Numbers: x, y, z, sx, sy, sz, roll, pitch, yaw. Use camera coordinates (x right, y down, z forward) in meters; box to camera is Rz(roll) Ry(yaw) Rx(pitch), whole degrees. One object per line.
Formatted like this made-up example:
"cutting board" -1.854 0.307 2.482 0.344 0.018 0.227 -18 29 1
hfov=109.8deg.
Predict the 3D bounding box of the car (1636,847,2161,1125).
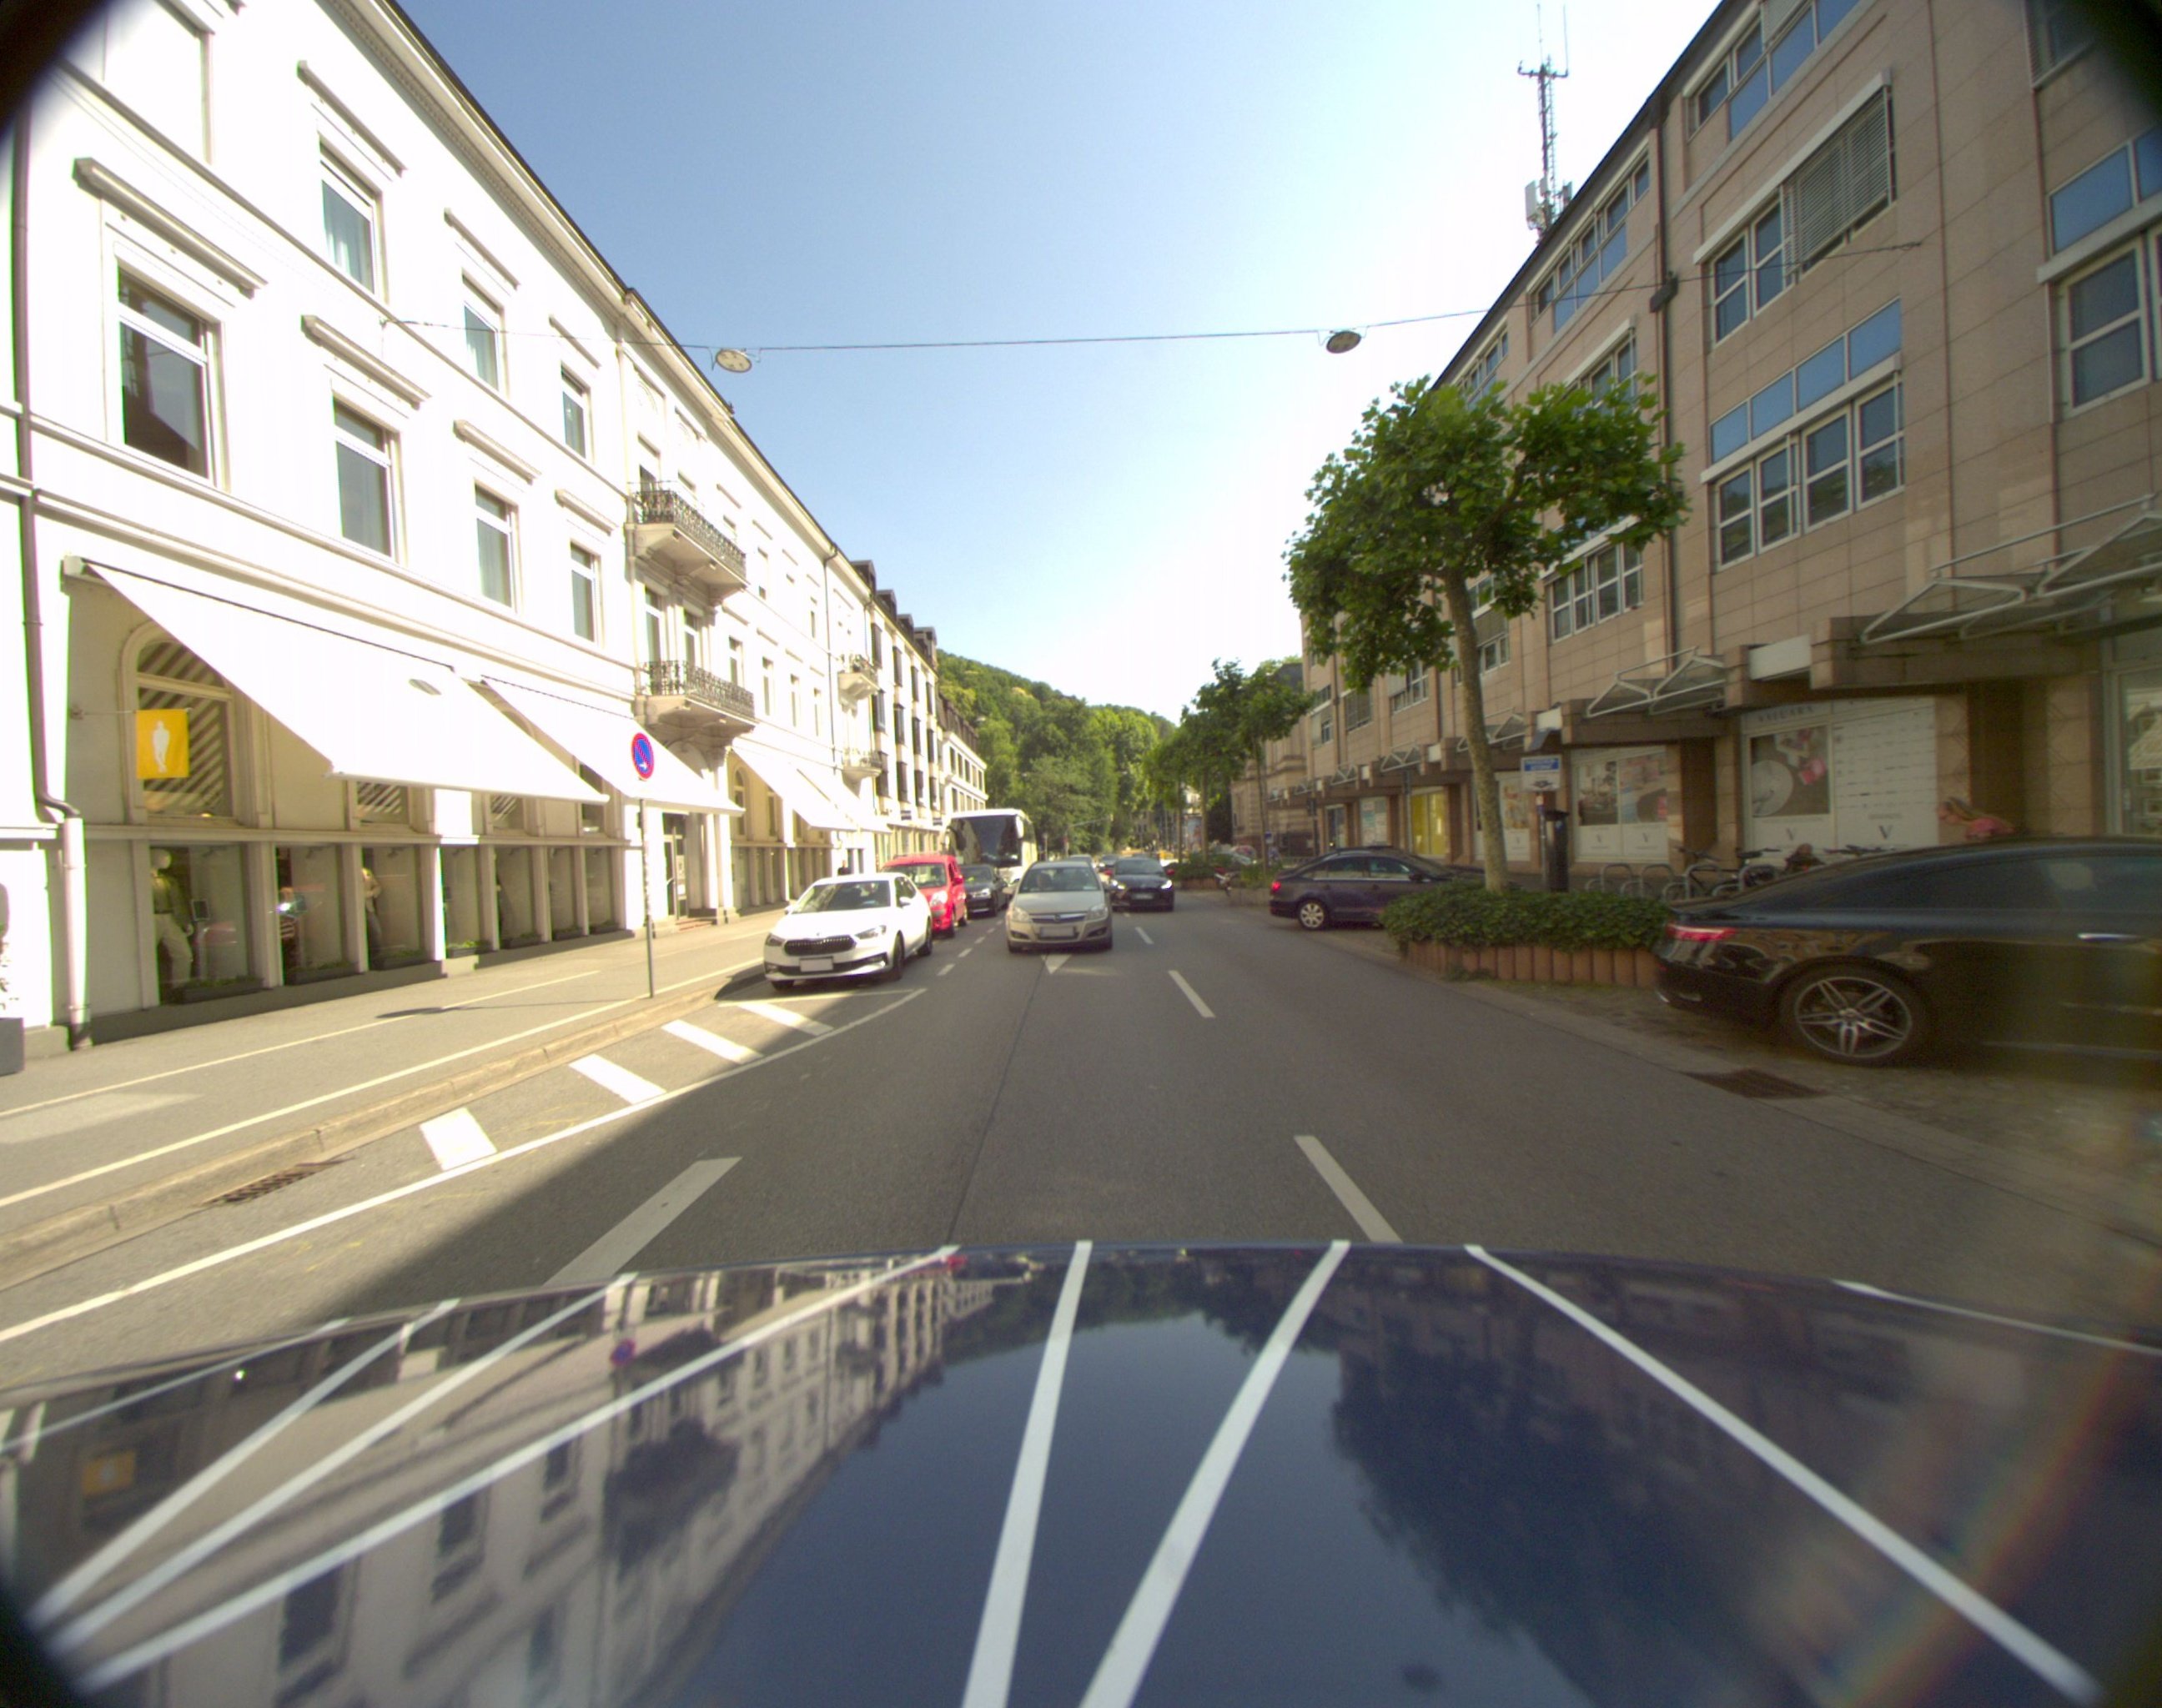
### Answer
"car" 6.405 0.707 4.639 4.610 1.438 1.736 -4 -1 44

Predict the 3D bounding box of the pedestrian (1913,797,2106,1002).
"pedestrian" 9.015 0.415 7.419 0.840 1.868 0.844 -2 1 1

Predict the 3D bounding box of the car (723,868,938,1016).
"car" -3.428 1.110 11.347 1.799 1.516 4.262 -5 1 -2

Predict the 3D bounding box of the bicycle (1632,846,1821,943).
"bicycle" 8.573 0.525 10.126 2.001 1.095 0.476 -5 1 2

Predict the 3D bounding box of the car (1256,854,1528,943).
"car" 5.815 0.785 14.493 4.392 1.438 1.890 -2 -1 40

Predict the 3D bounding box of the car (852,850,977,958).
"car" -3.552 0.966 17.060 1.703 1.901 4.606 -7 0 -2

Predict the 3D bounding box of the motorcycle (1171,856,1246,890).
"motorcycle" 5.296 0.789 31.743 0.980 1.342 3.095 -2 0 -43

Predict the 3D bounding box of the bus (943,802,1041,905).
"bus" -3.443 -0.076 32.953 2.924 3.516 12.497 -2 1 -1

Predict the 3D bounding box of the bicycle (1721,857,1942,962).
"bicycle" 8.485 0.613 8.624 2.001 1.096 0.476 -2 1 1

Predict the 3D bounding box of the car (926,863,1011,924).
"car" -3.152 1.056 22.073 1.868 1.479 4.414 -3 0 -2

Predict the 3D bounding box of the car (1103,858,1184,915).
"car" 1.681 0.879 21.742 1.868 1.469 4.106 0 -1 -2

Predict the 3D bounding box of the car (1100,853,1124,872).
"car" 2.432 0.620 60.607 1.734 1.389 4.106 -3 0 1

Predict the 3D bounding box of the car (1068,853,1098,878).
"car" 0.148 0.724 47.705 1.775 1.469 4.107 -1 -1 0

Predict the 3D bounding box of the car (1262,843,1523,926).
"car" 6.913 0.654 17.228 5.120 1.623 1.847 -2 0 40

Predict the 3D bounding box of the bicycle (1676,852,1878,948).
"bicycle" 8.588 0.560 9.414 2.001 1.096 0.476 -2 1 2

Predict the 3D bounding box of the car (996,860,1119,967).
"car" -0.417 0.914 13.627 1.791 1.484 4.367 -3 0 -2

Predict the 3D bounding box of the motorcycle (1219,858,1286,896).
"motorcycle" 6.084 0.818 26.954 2.056 1.281 0.980 -2 1 39

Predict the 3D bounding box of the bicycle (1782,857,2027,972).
"bicycle" 8.538 0.619 7.915 2.001 1.096 0.468 -2 1 1

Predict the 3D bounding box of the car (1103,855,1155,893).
"car" 2.055 0.836 33.682 1.734 1.389 4.104 -4 1 -3
